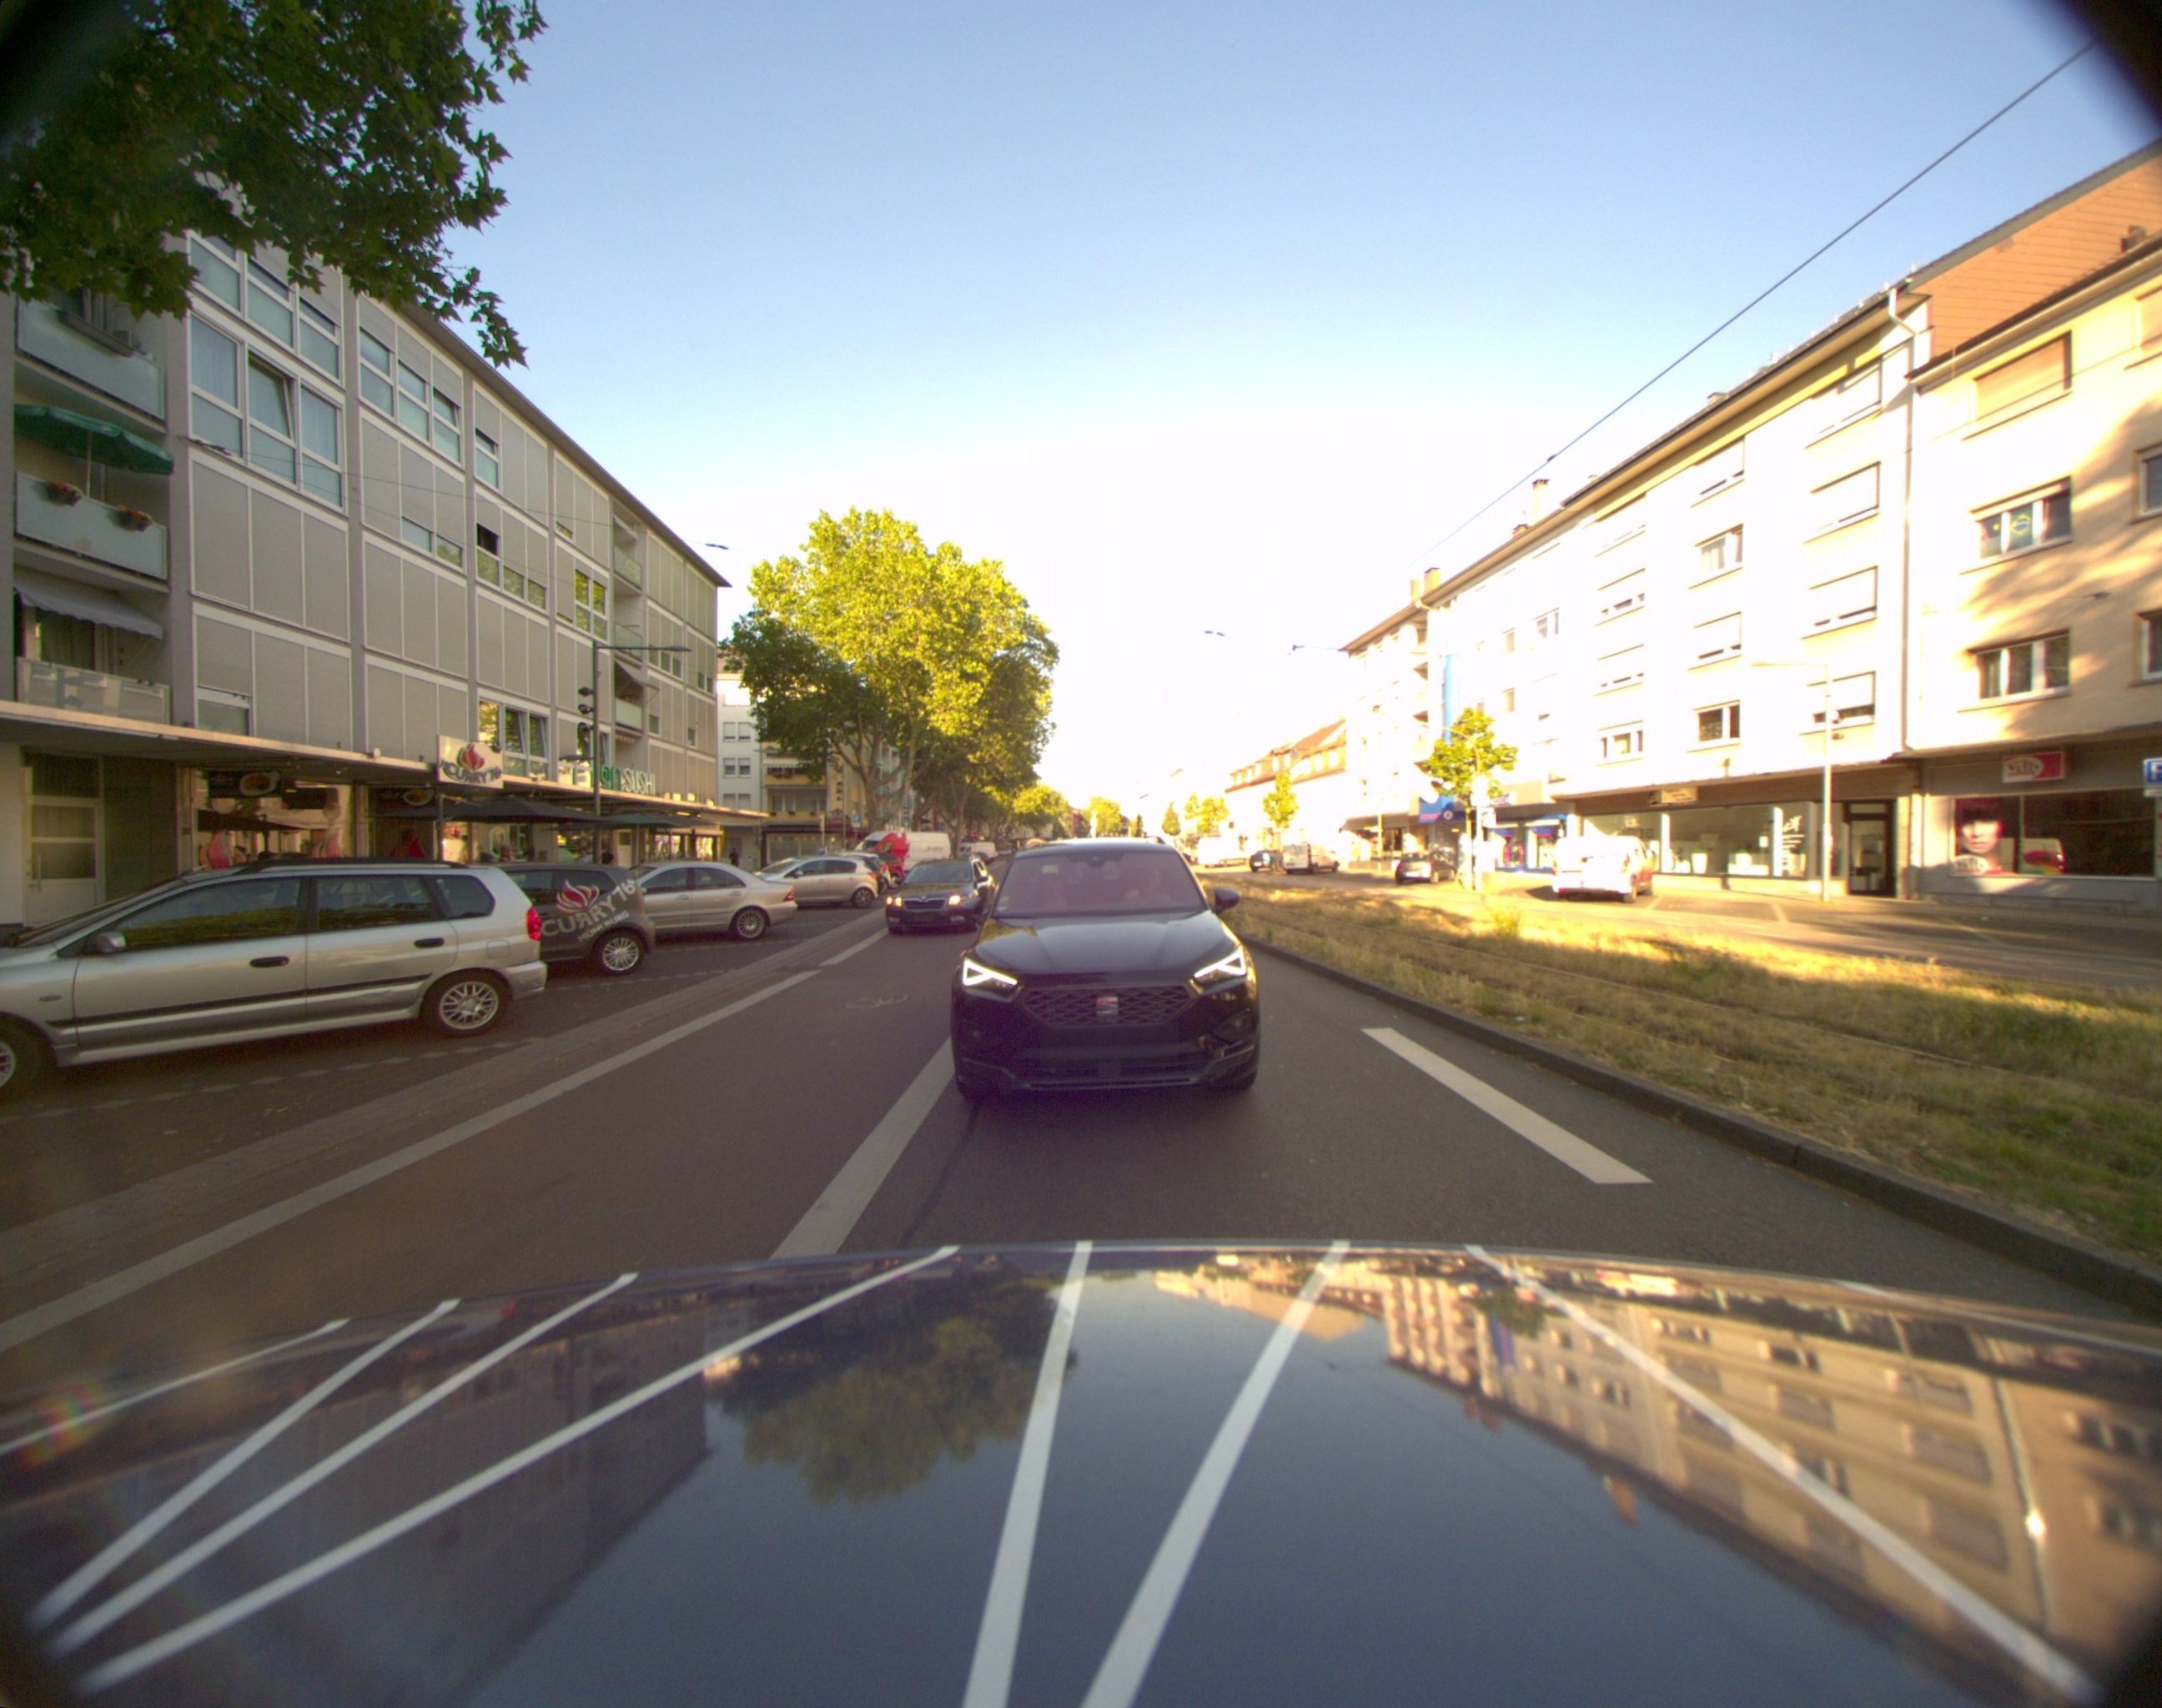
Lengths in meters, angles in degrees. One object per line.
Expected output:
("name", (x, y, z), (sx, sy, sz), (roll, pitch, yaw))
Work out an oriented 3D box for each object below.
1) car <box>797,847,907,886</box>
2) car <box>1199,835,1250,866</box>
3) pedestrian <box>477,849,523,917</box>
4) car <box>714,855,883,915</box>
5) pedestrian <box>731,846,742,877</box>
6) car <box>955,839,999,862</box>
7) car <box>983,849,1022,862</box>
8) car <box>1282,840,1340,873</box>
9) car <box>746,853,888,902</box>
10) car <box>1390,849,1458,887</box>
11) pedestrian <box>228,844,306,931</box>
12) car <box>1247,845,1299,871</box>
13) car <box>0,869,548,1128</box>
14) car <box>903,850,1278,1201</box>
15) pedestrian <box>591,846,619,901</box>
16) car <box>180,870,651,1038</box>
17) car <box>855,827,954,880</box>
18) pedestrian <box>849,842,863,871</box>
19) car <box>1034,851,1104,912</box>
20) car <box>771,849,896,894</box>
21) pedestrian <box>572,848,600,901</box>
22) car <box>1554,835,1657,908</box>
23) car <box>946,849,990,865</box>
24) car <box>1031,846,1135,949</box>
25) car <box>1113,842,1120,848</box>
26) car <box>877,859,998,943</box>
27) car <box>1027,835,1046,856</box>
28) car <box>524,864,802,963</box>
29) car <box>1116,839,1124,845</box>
("car", (-9.205, 0.506, 30.597), (3.948, 1.421, 1.672), (2, 2, -29))
("car", (13.024, -0.364, 68.528), (1.922, 2.599, 6.601), (-1, 1, 34))
("pedestrian", (-13.503, 0.658, 17.667), (0.561, 1.567, 0.642), (0, 1, -5))
("car", (-7.532, 0.786, 20.518), (3.950, 1.420, 1.555), (1, 1, -45))
("pedestrian", (-19.699, 0.429, 43.496), (0.481, 1.720, 0.347), (-1, 1, -38))
("car", (-11.622, -0.417, 85.034), (1.973, 2.454, 4.605), (1, 1, 44))
("car", (-8.538, 0.181, 82.739), (1.778, 1.326, 3.943), (1, 1, 44))
("car", (14.515, 0.110, 47.830), (1.853, 1.927, 4.513), (-1, 1, 40))
("car", (-8.337, 0.725, 24.082), (3.949, 1.420, 1.672), (1, 1, -34))
("car", (15.404, 0.581, 34.031), (1.731, 1.489, 4.008), (-1, 1, 40))
("pedestrian", (-15.140, 0.609, 14.145), (0.583, 1.573, 0.771), (0, 1, 2))
("car", (13.790, 0.242, 54.520), (3.922, 1.704, 1.853), (-2, 1, -45))
("car", (-6.864, 0.944, 6.024), (1.672, 1.533, 3.993), (2, 1, 38))
("car", (0.074, 0.839, 5.744), (1.785, 1.639, 3.999), (-2, 1, 1))
("pedestrian", (-14.884, 0.603, 23.770), (0.545, 1.710, 0.457), (0, 1, -4))
("car", (-7.560, 0.961, 8.996), (1.672, 1.420, 3.950), (2, 1, 38))
("car", (-8.731, 0.003, 37.827), (4.606, 2.479, 1.672), (0, -1, -44))
("pedestrian", (-15.866, 0.161, 53.529), (0.748, 2.002, 0.764), (0, 1, -4))
("car", (-0.331, 0.708, 21.433), (1.729, 1.467, 3.999), (-2, 1, -1))
("car", (-8.860, 0.636, 27.329), (3.948, 1.421, 1.672), (2, 2, -32))
("pedestrian", (-15.444, 0.642, 23.699), (0.537, 1.630, 0.478), (0, 1, -4))
("car", (15.633, 0.449, 22.575), (1.853, 1.888, 4.007), (-1, 2, 44))
("car", (-10.808, 0.276, 72.962), (1.778, 1.396, 3.943), (1, 1, 44))
("car", (0.017, 0.703, 14.572), (1.646, 1.646, 3.999), (-2, 1, -1))
("car", (9.959, -2.440, 213.242), (1.845, 1.571, 4.450), (0, 1, 1))
("car", (-2.905, 0.902, 16.312), (1.728, 1.443, 4.228), (-2, 1, 0))
("car", (-6.894, -1.306, 118.049), (2.660, 2.989, 7.131), (-2, 1, -2))
("car", (-7.156, 0.919, 13.324), (1.592, 1.393, 3.950), (2, 1, 41))
("car", (11.963, -3.644, 232.479), (1.999, 1.783, 3.998), (0, 1, -4))
